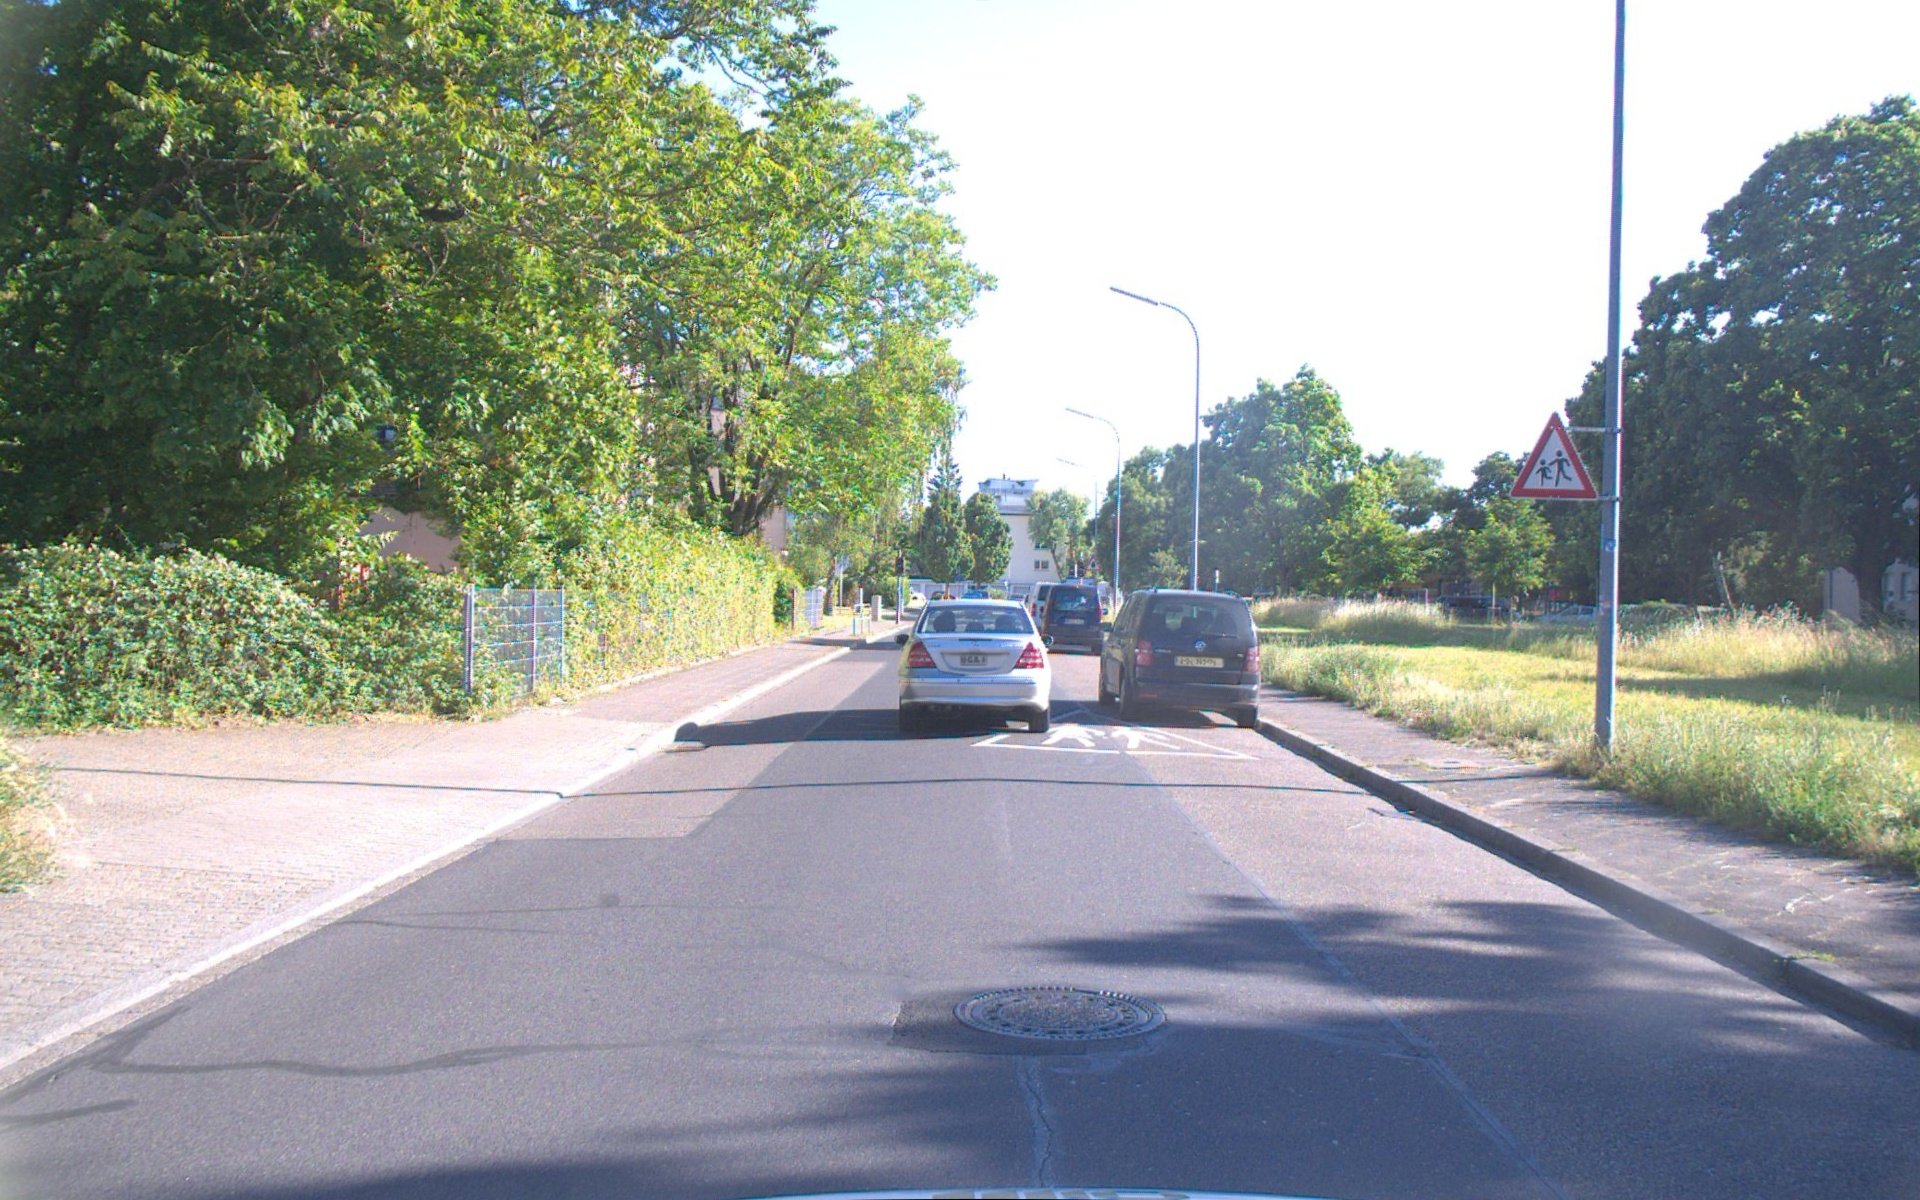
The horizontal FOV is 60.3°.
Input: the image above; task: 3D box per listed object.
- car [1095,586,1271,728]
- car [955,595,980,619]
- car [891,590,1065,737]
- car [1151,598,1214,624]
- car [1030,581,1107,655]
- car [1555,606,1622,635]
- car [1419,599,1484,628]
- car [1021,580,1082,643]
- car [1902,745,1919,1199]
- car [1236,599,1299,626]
[{"bbox_3d":[2.837,0.670,21.807,1.664,1.638,3.999,2,1,-1],"label":"car"},{"bbox_3d":[0.591,0.580,128.999,1.846,1.758,3.999,1,-2,0],"label":"car"},{"bbox_3d":[0.264,0.658,19.261,1.778,1.489,4.362,-1,0,2],"label":"car"},{"bbox_3d":[13.554,0.649,100.700,3.624,1.467,1.700,1,-2,15],"label":"car"},{"bbox_3d":[2.828,0.430,43.721,1.664,1.790,3.850,3,0,0],"label":"car"},{"bbox_3d":[38.797,1.262,102.186,3.623,1.646,1.701,1,-2,9],"label":"car"},{"bbox_3d":[29.041,0.807,97.729,3.624,1.646,1.700,1,-2,15],"label":"car"},{"bbox_3d":[2.942,0.342,53.821,1.664,1.884,3.850,3,0,0],"label":"car"},{"bbox_3d":[2.921,0.826,1.729,1.687,1.505,3.740,3,0,-1],"label":"car"},{"bbox_3d":[18.573,0.761,99.789,3.624,1.497,1.700,1,-2,15],"label":"car"}]
